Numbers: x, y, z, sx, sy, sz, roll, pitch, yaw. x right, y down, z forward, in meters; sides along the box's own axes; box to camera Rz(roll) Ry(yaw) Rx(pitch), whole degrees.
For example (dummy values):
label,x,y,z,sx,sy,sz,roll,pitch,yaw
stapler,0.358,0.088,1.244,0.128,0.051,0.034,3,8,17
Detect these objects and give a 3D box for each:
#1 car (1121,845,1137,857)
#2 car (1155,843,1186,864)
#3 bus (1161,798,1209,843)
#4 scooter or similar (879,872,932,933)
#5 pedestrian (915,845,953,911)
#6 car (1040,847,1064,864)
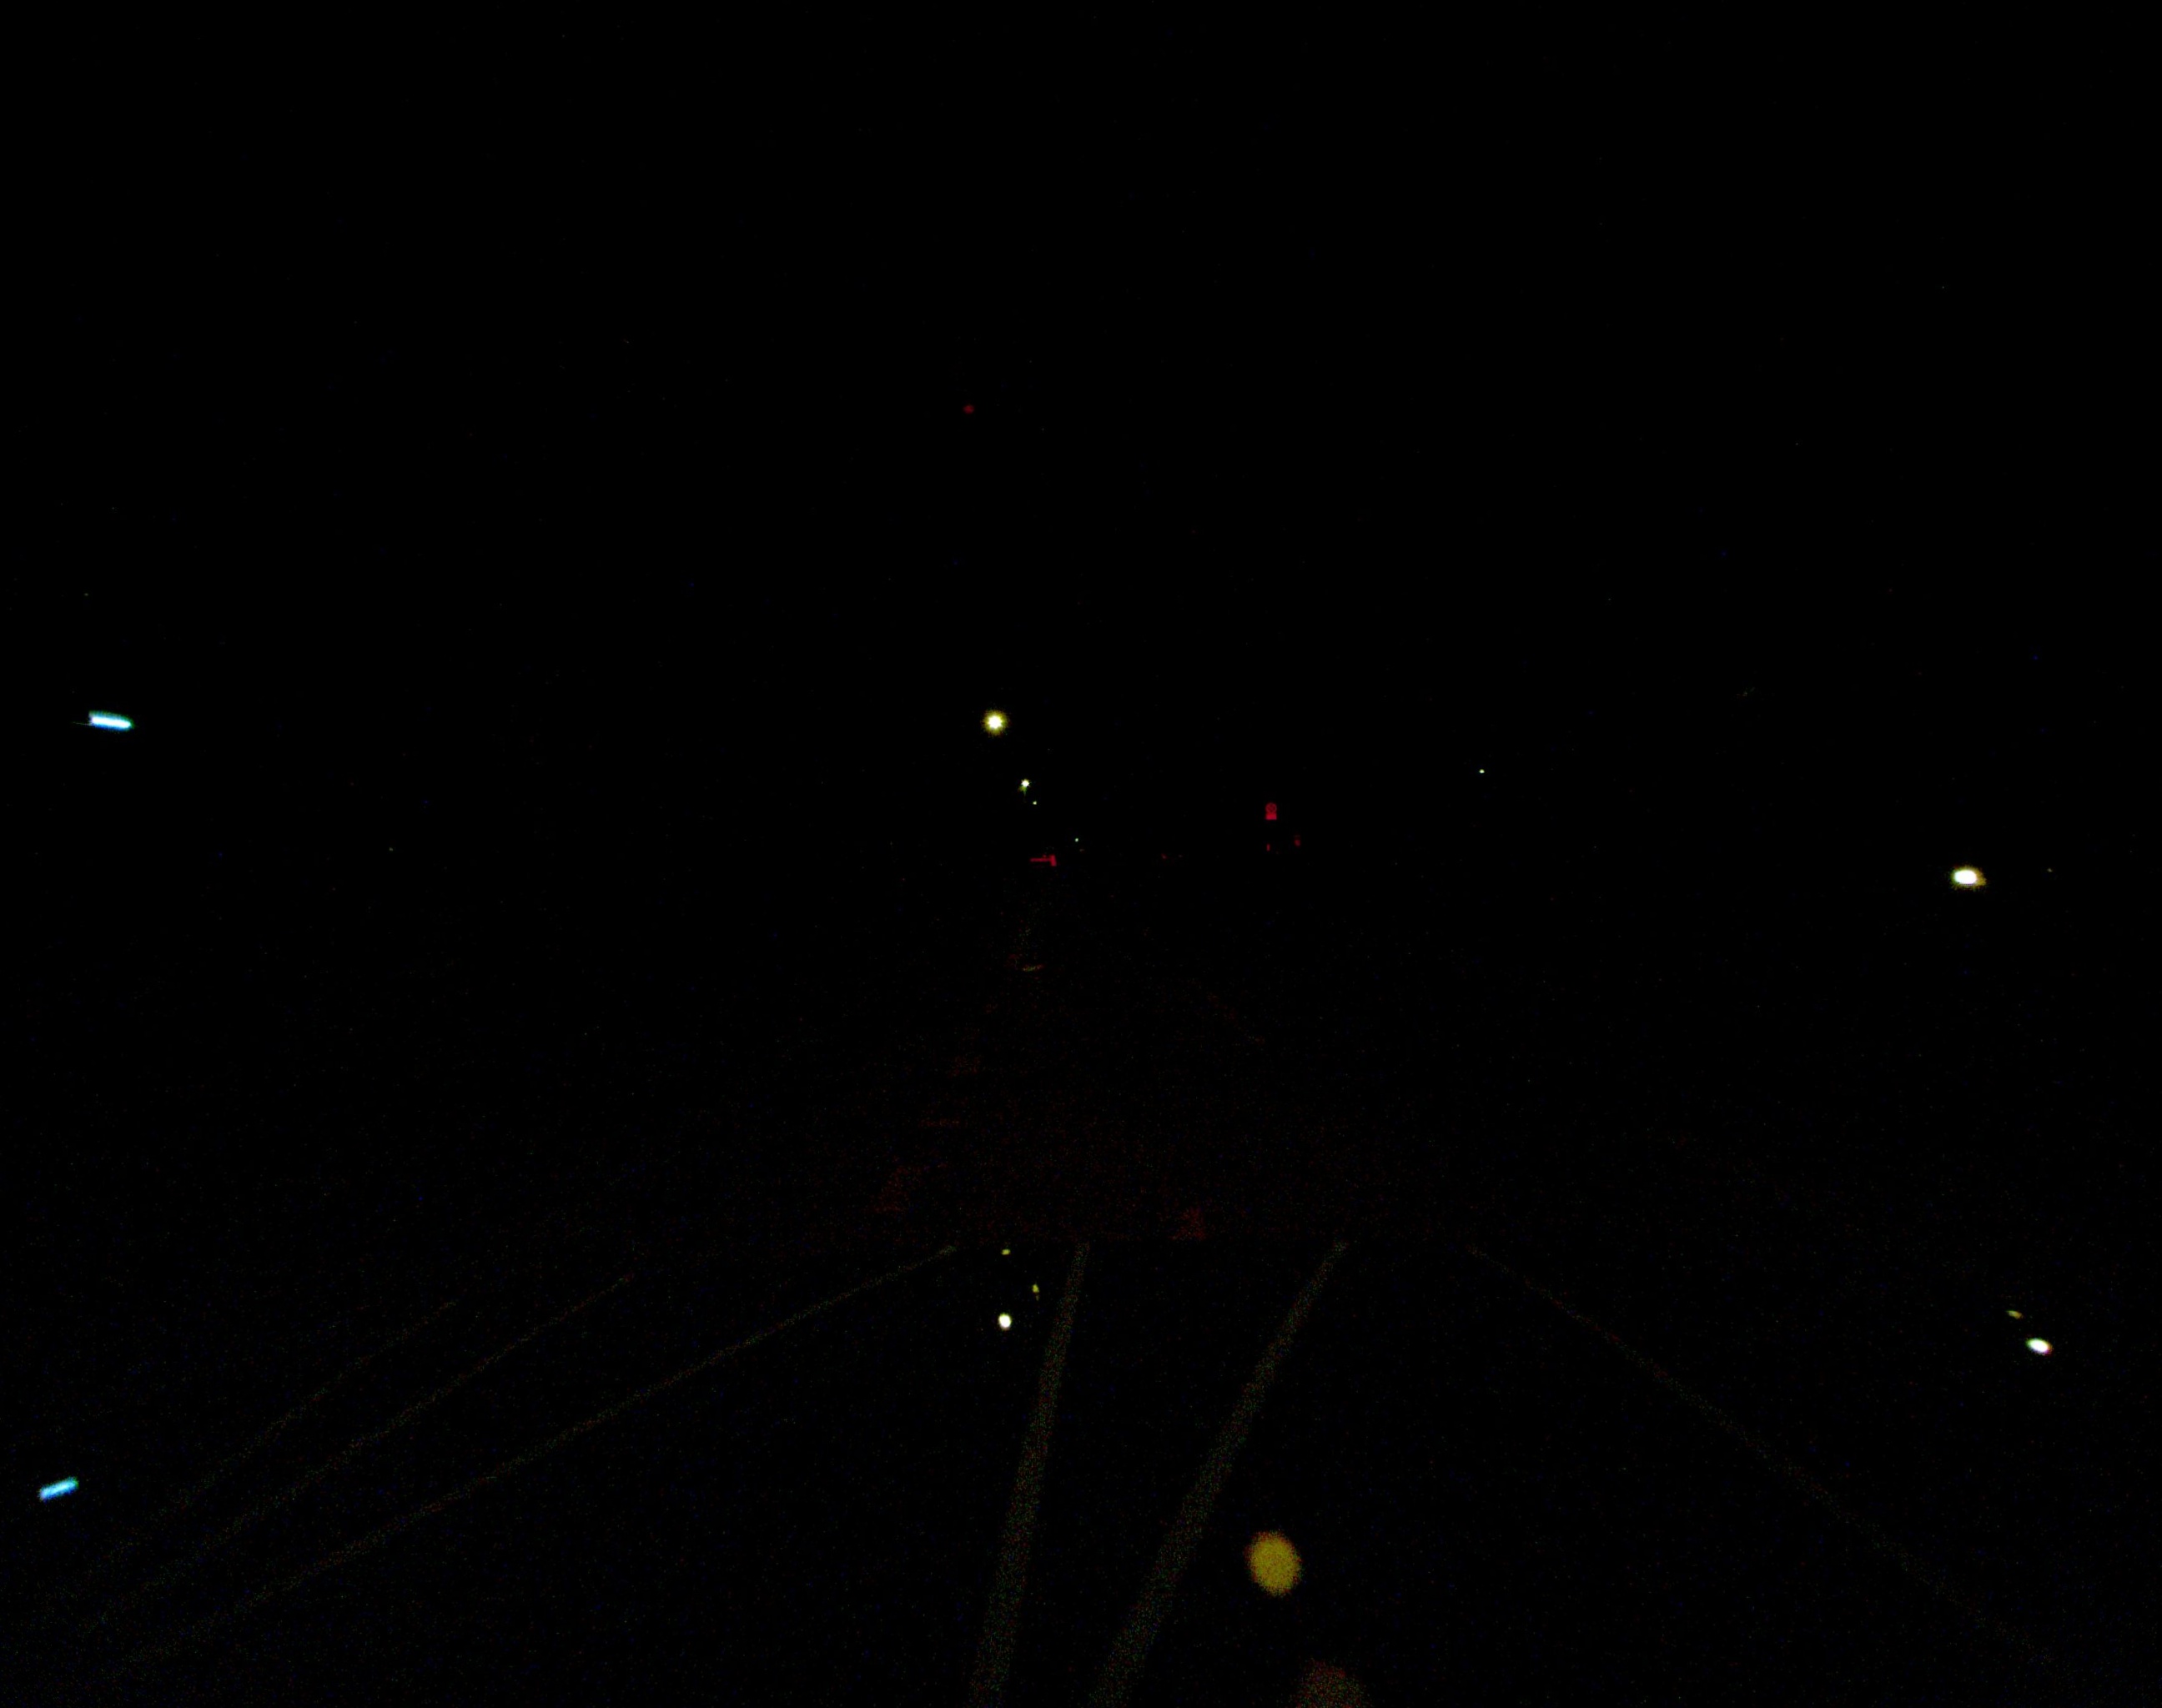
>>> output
label,x,y,z,sx,sy,sz,roll,pitch,yaw
car,6.259,-0.391,100.352,1.863,1.484,4.080,-2,1,1
car,7.143,-0.072,60.817,1.806,1.583,3.999,-2,1,-2
bus,17.486,-5.429,129.225,6.135,6.898,14.781,-2,1,1
scooter or similar,-3.686,1.007,16.044,0.468,1.195,1.137,-2,0,24
pedestrian,-4.272,0.672,22.108,0.819,1.854,1.034,-2,1,1
car,-2.928,0.141,78.185,1.998,1.638,4.000,1,2,4
